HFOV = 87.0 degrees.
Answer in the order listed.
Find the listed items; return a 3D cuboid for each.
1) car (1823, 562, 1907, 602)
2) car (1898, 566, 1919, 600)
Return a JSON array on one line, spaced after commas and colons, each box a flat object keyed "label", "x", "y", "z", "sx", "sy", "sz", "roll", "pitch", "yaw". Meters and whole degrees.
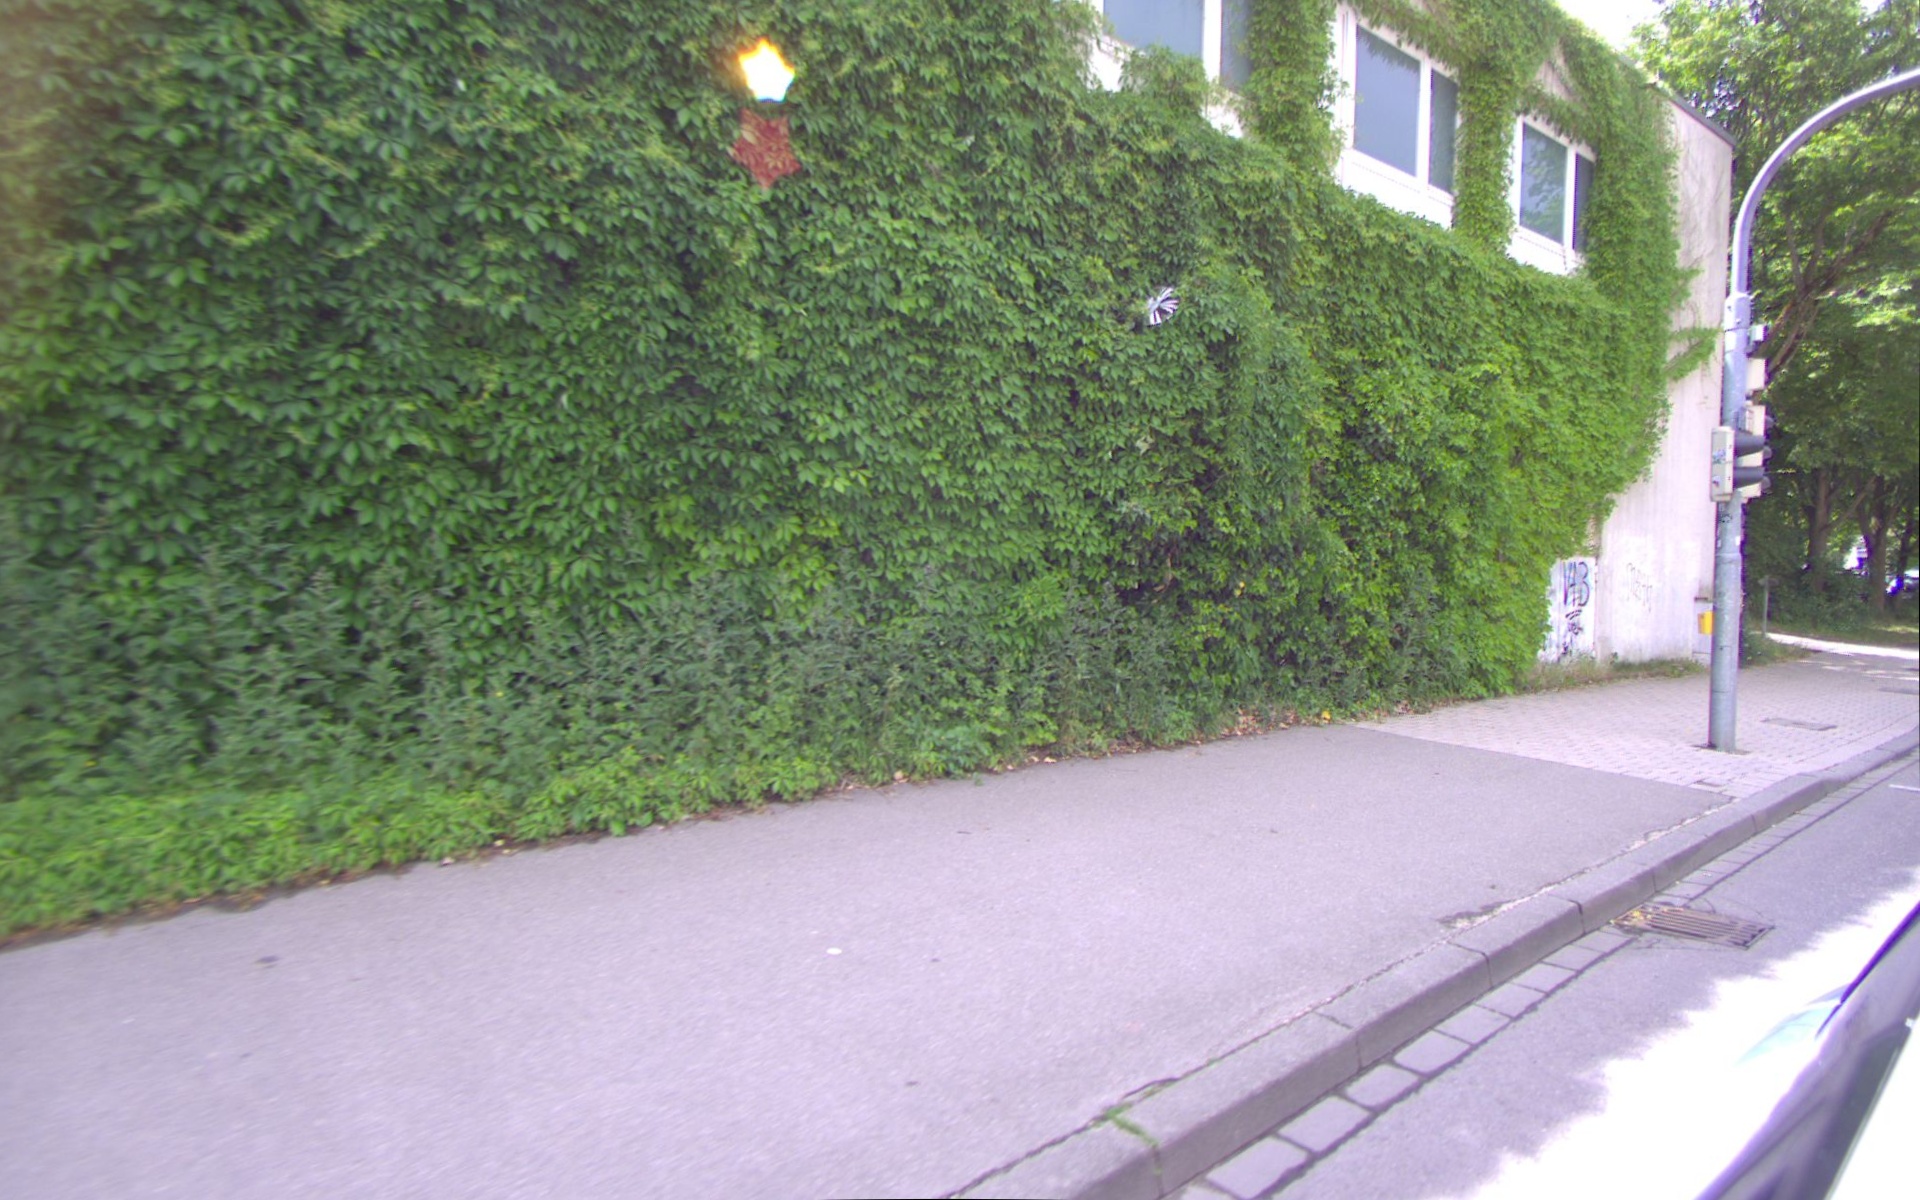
[{"label": "car", "x": 36.304, "y": -0.738, "z": 40.569, "sx": 3.607, "sy": 1.561, "sz": 1.757, "roll": -1, "pitch": 2, "yaw": -36}, {"label": "car", "x": 46.153, "y": -0.827, "z": 48.221, "sx": 4.154, "sy": 1.561, "sz": 1.754, "roll": -1, "pitch": 2, "yaw": -42}]
